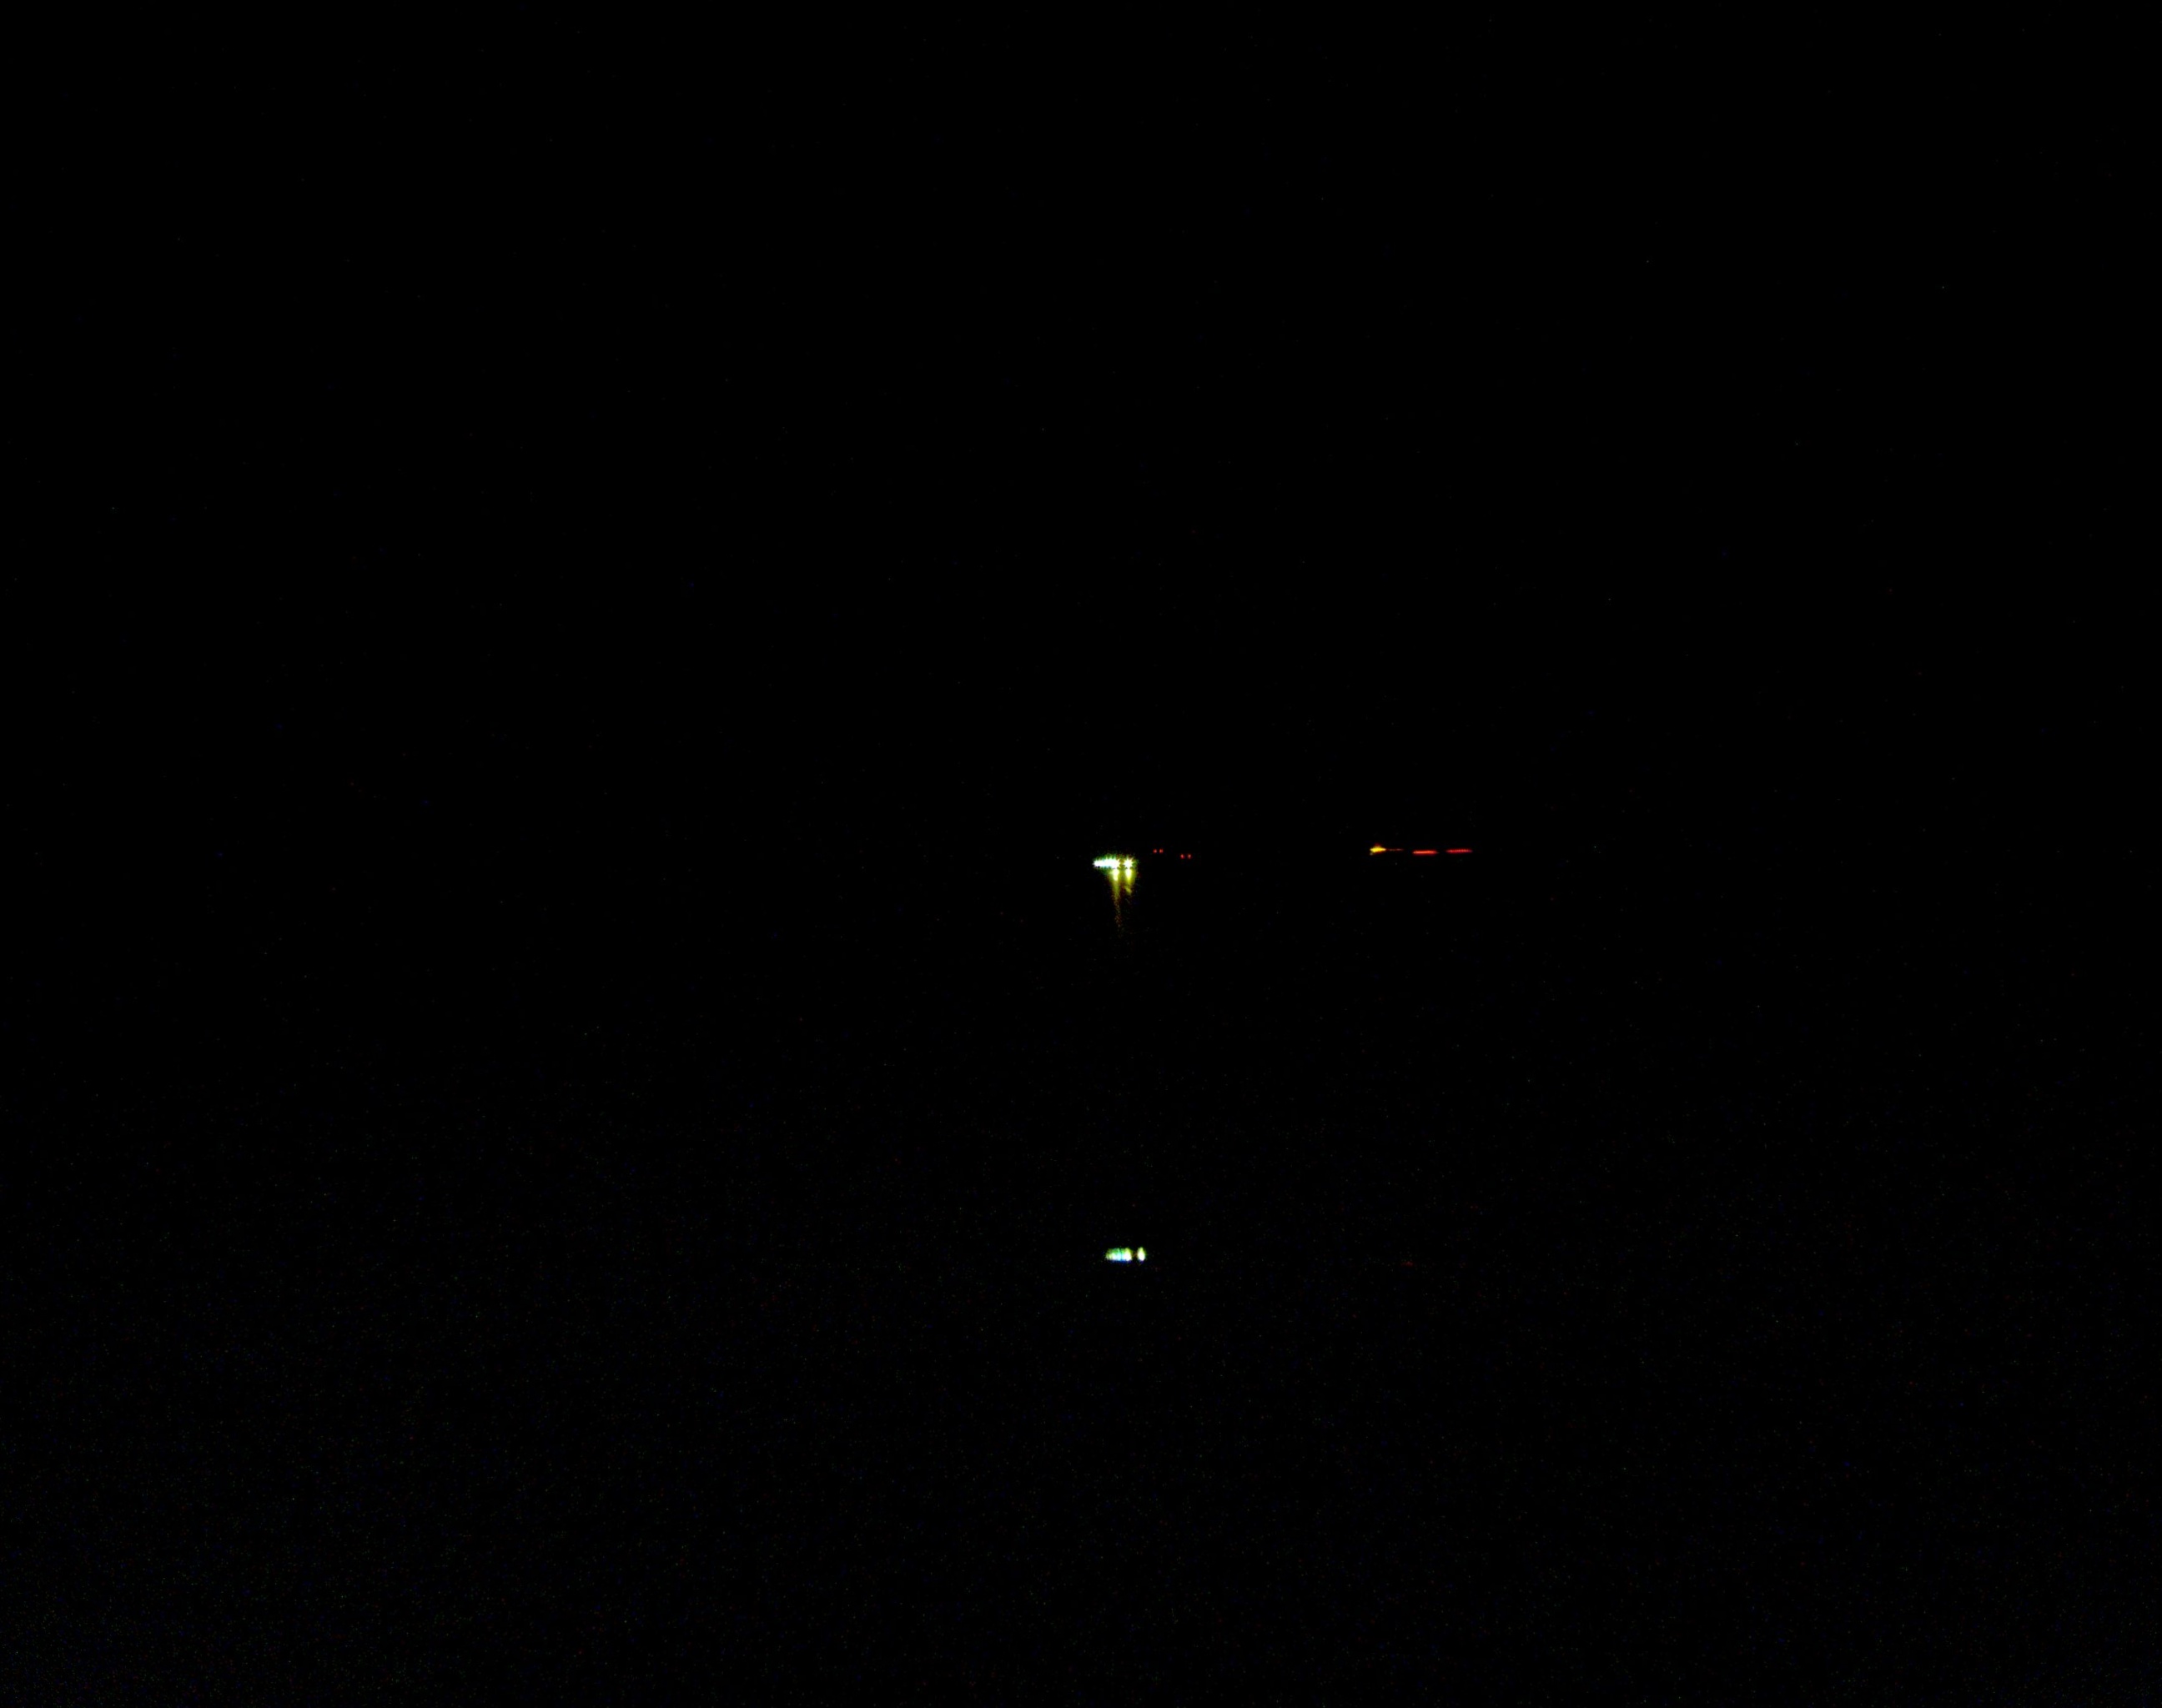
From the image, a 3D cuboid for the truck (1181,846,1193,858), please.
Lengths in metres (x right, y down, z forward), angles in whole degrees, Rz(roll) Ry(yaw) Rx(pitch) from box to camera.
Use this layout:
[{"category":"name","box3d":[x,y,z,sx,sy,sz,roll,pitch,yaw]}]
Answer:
[{"category":"truck","box3d":[27.741,-0.461,199.783,2.202,2.709,7.626,-5,-1,2]}]

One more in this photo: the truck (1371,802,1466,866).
[{"category":"truck","box3d":[22.470,-1.226,51.157,2.525,3.829,9.065,-2,0,2]}]

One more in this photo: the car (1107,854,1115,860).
[{"category":"car","box3d":[9.257,0.896,235.637,1.999,1.724,4.223,-2,1,-2]}]

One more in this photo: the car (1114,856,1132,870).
[{"category":"car","box3d":[4.960,1.033,90.415,1.998,1.422,4.330,-5,0,2]}]
